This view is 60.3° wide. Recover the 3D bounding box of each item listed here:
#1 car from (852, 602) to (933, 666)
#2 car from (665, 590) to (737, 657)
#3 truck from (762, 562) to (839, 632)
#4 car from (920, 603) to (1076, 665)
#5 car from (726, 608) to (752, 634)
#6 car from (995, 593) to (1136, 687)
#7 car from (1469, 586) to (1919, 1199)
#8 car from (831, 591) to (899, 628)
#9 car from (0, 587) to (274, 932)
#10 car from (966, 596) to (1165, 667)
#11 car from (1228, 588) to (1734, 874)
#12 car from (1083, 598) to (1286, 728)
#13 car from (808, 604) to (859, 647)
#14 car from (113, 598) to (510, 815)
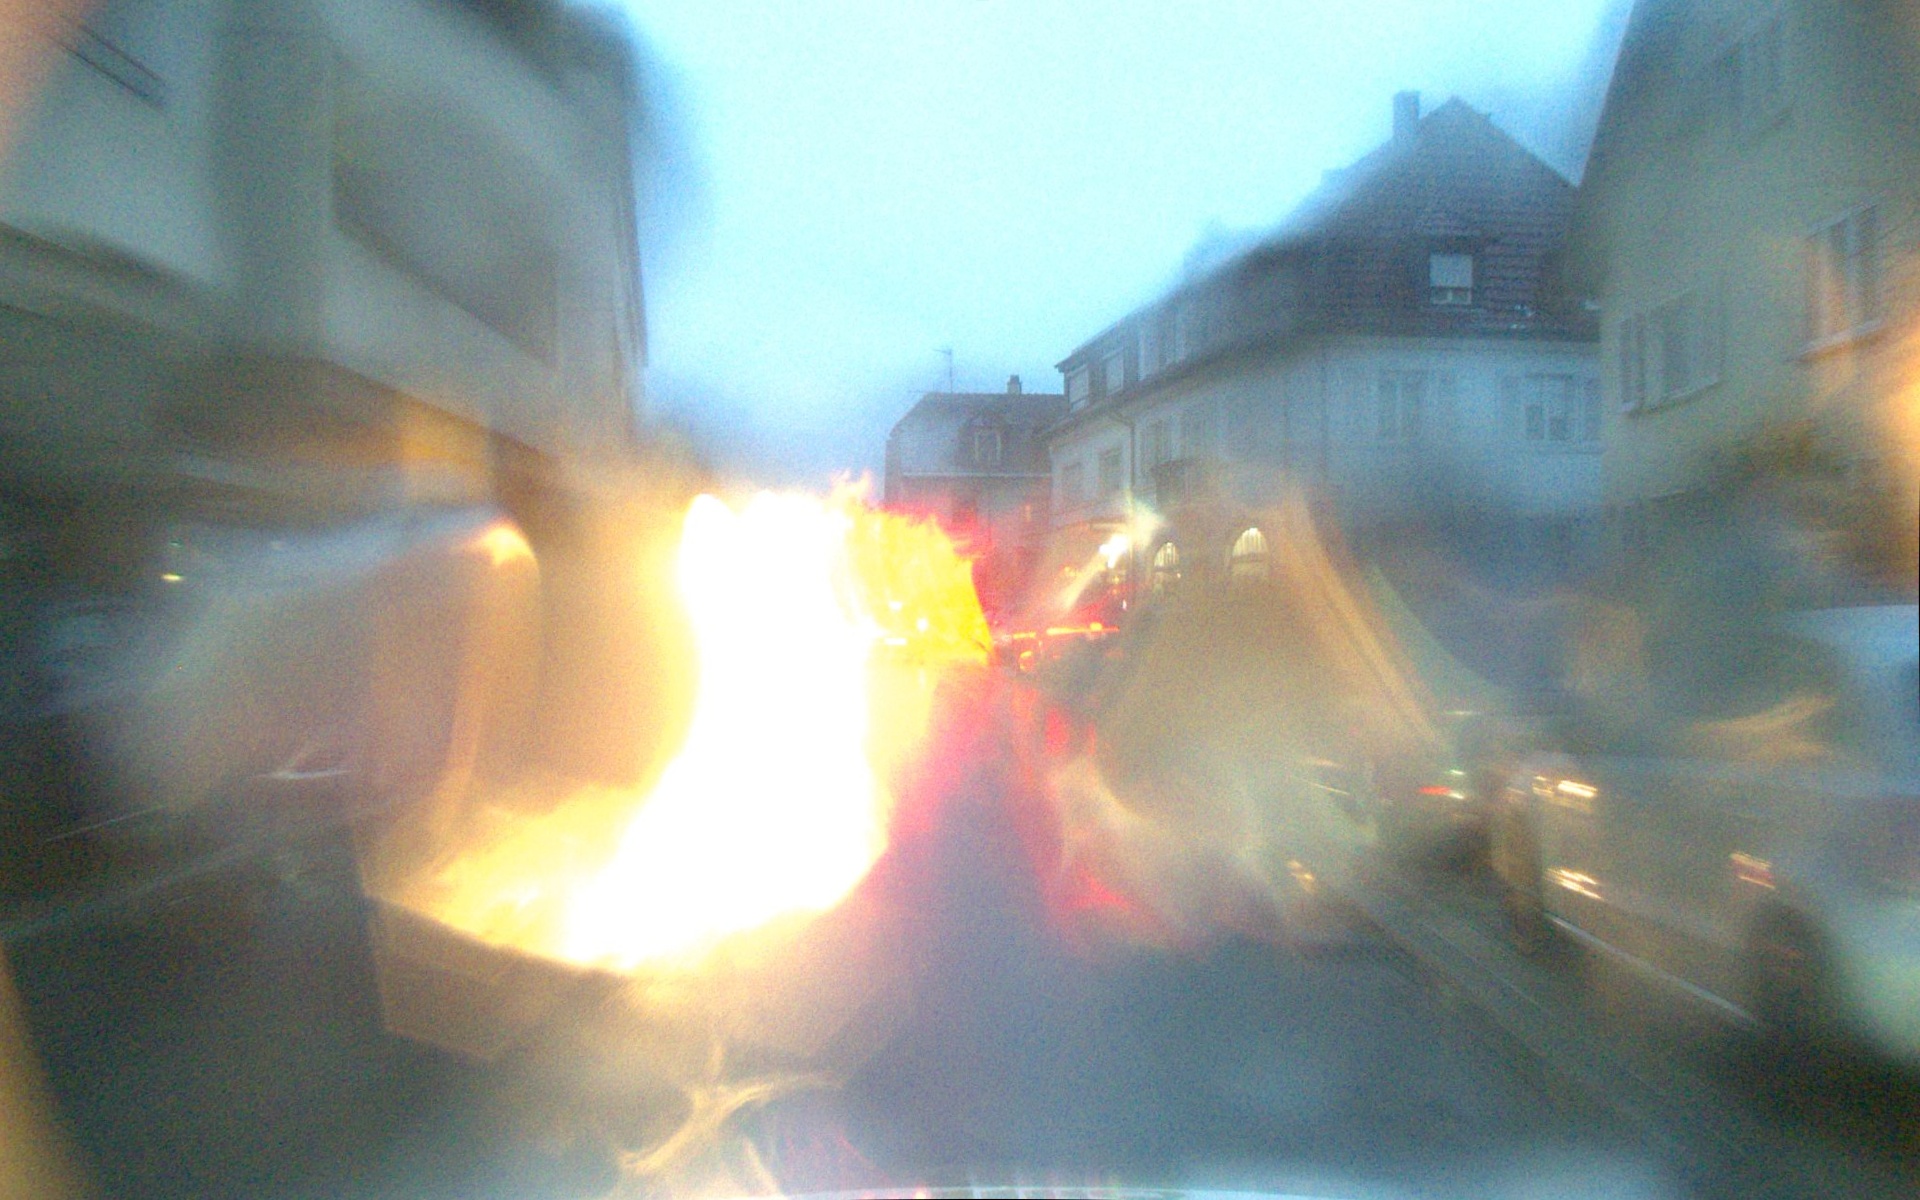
[{"bbox_3d":[-1.734,0.833,41.478,1.608,1.507,3.371,1,-1,-9],"label":"car"},{"bbox_3d":[-6.876,0.586,43.992,1.761,1.671,3.804,1,0,-9],"label":"car"},{"bbox_3d":[-7.875,-0.128,80.622,2.961,3.183,7.978,1,0,-11],"label":"truck"},{"bbox_3d":[1.157,1.021,51.409,4.525,1.807,1.939,-1,0,-14],"label":"car"},{"bbox_3d":[-14.111,1.320,105.403,1.607,1.562,3.400,1,0,-8],"label":"car"},{"bbox_3d":[1.872,0.686,30.849,1.846,1.574,4.665,-1,0,-6],"label":"car"},{"bbox_3d":[3.104,0.707,5.626,1.593,1.466,3.800,-3,0,1],"label":"car"},{"bbox_3d":[-5.762,0.558,100.511,4.014,2.201,1.912,0,0,-2],"label":"car"},{"bbox_3d":[-5.155,0.716,8.515,1.582,1.559,3.928,1,0,0],"label":"car"},{"bbox_3d":[2.467,0.716,39.170,4.386,1.499,1.893,-2,0,-10],"label":"car"},{"bbox_3d":[3.175,0.714,11.188,1.786,1.448,4.606,-3,0,-2],"label":"car"},{"bbox_3d":[2.833,0.755,21.857,1.759,1.486,4.527,-2,0,-4],"label":"car"},{"bbox_3d":[-4.752,0.934,61.922,1.608,1.507,3.264,1,0,-9],"label":"car"},{"bbox_3d":[-5.113,0.749,13.733,1.641,1.472,4.426,1,0,-2],"label":"car"}]
